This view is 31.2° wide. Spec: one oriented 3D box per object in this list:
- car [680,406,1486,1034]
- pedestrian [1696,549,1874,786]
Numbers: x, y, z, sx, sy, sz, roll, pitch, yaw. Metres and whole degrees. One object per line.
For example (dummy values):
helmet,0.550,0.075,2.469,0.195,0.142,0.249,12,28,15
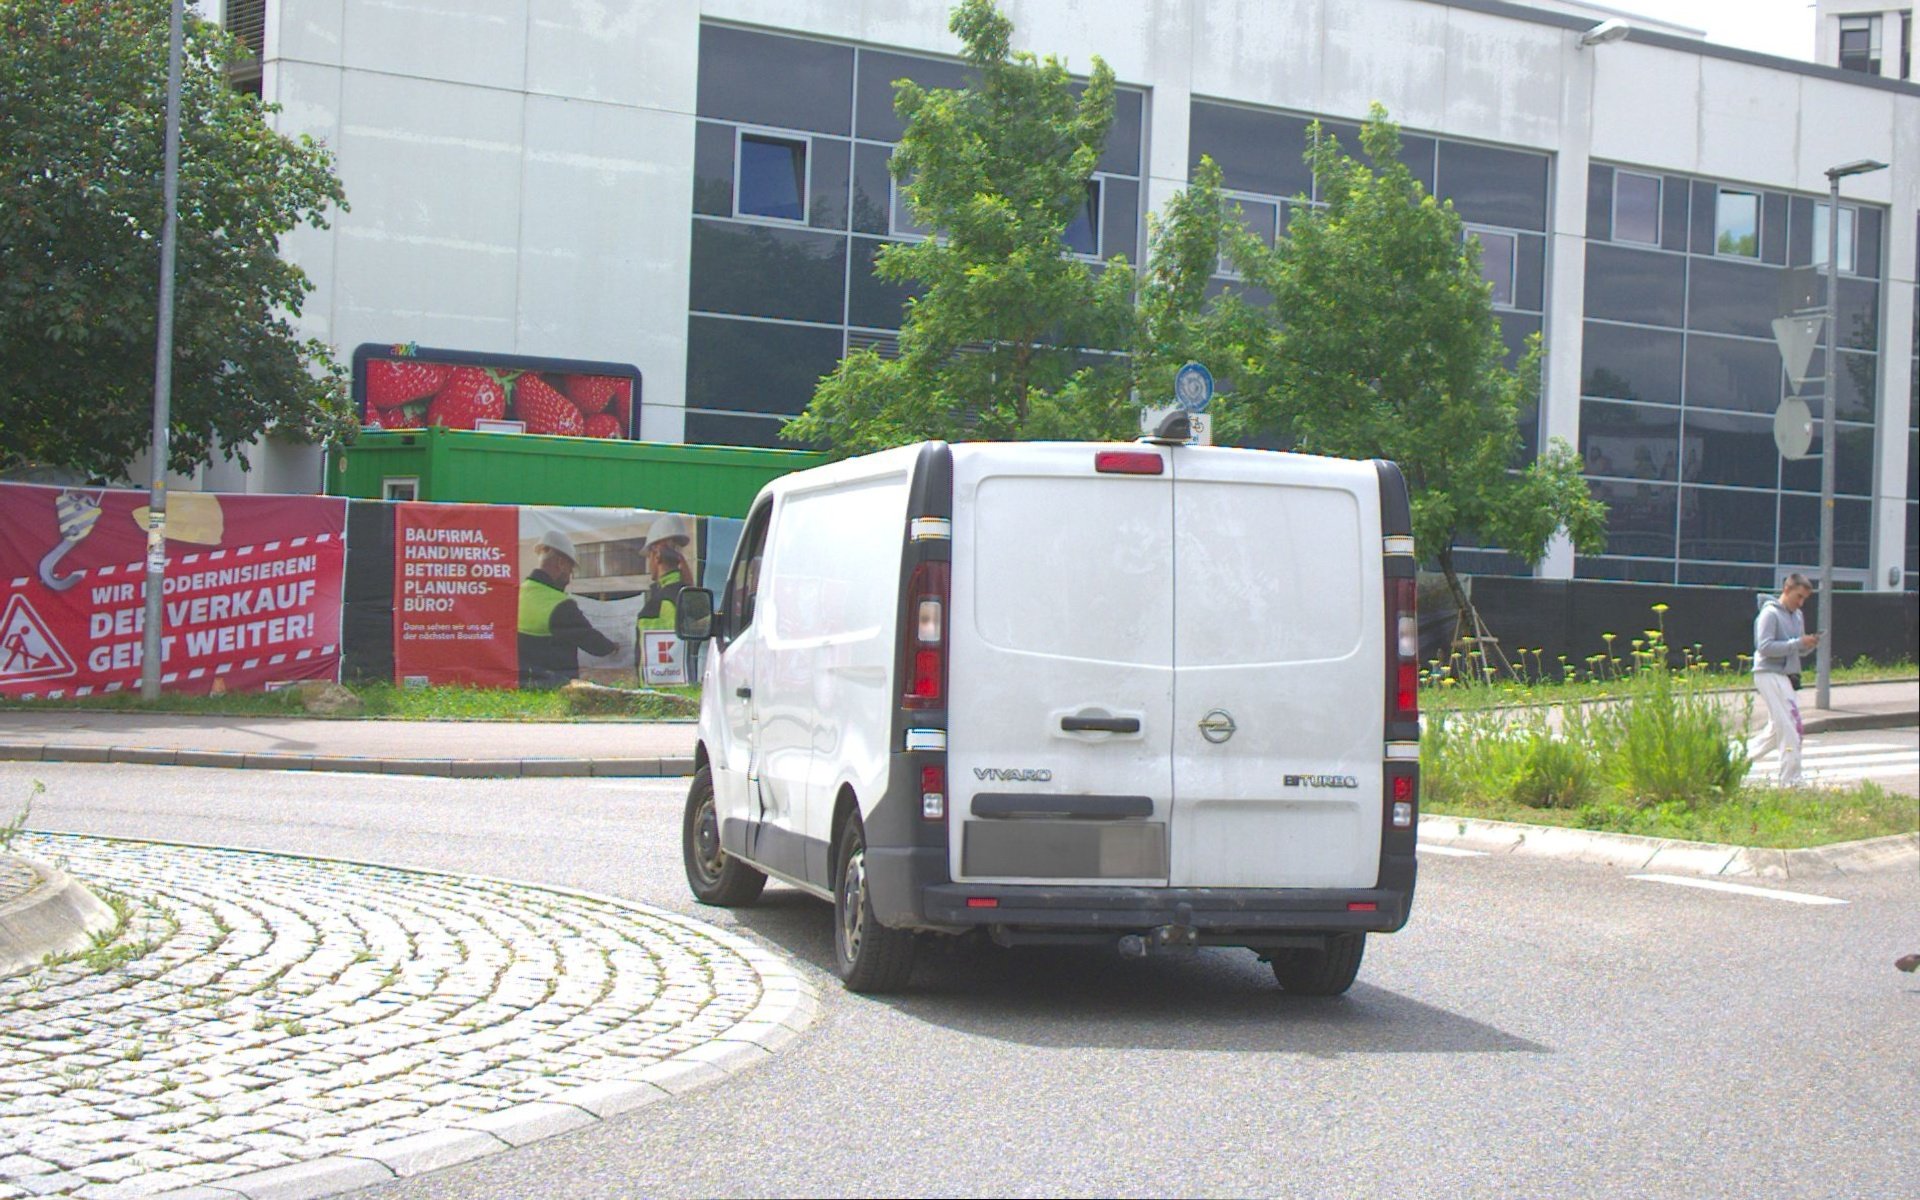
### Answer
car,0.227,0.406,13.717,2.034,1.939,4.995,4,-1,-11
pedestrian,5.675,0.462,23.702,1.034,1.536,0.895,4,-1,9
